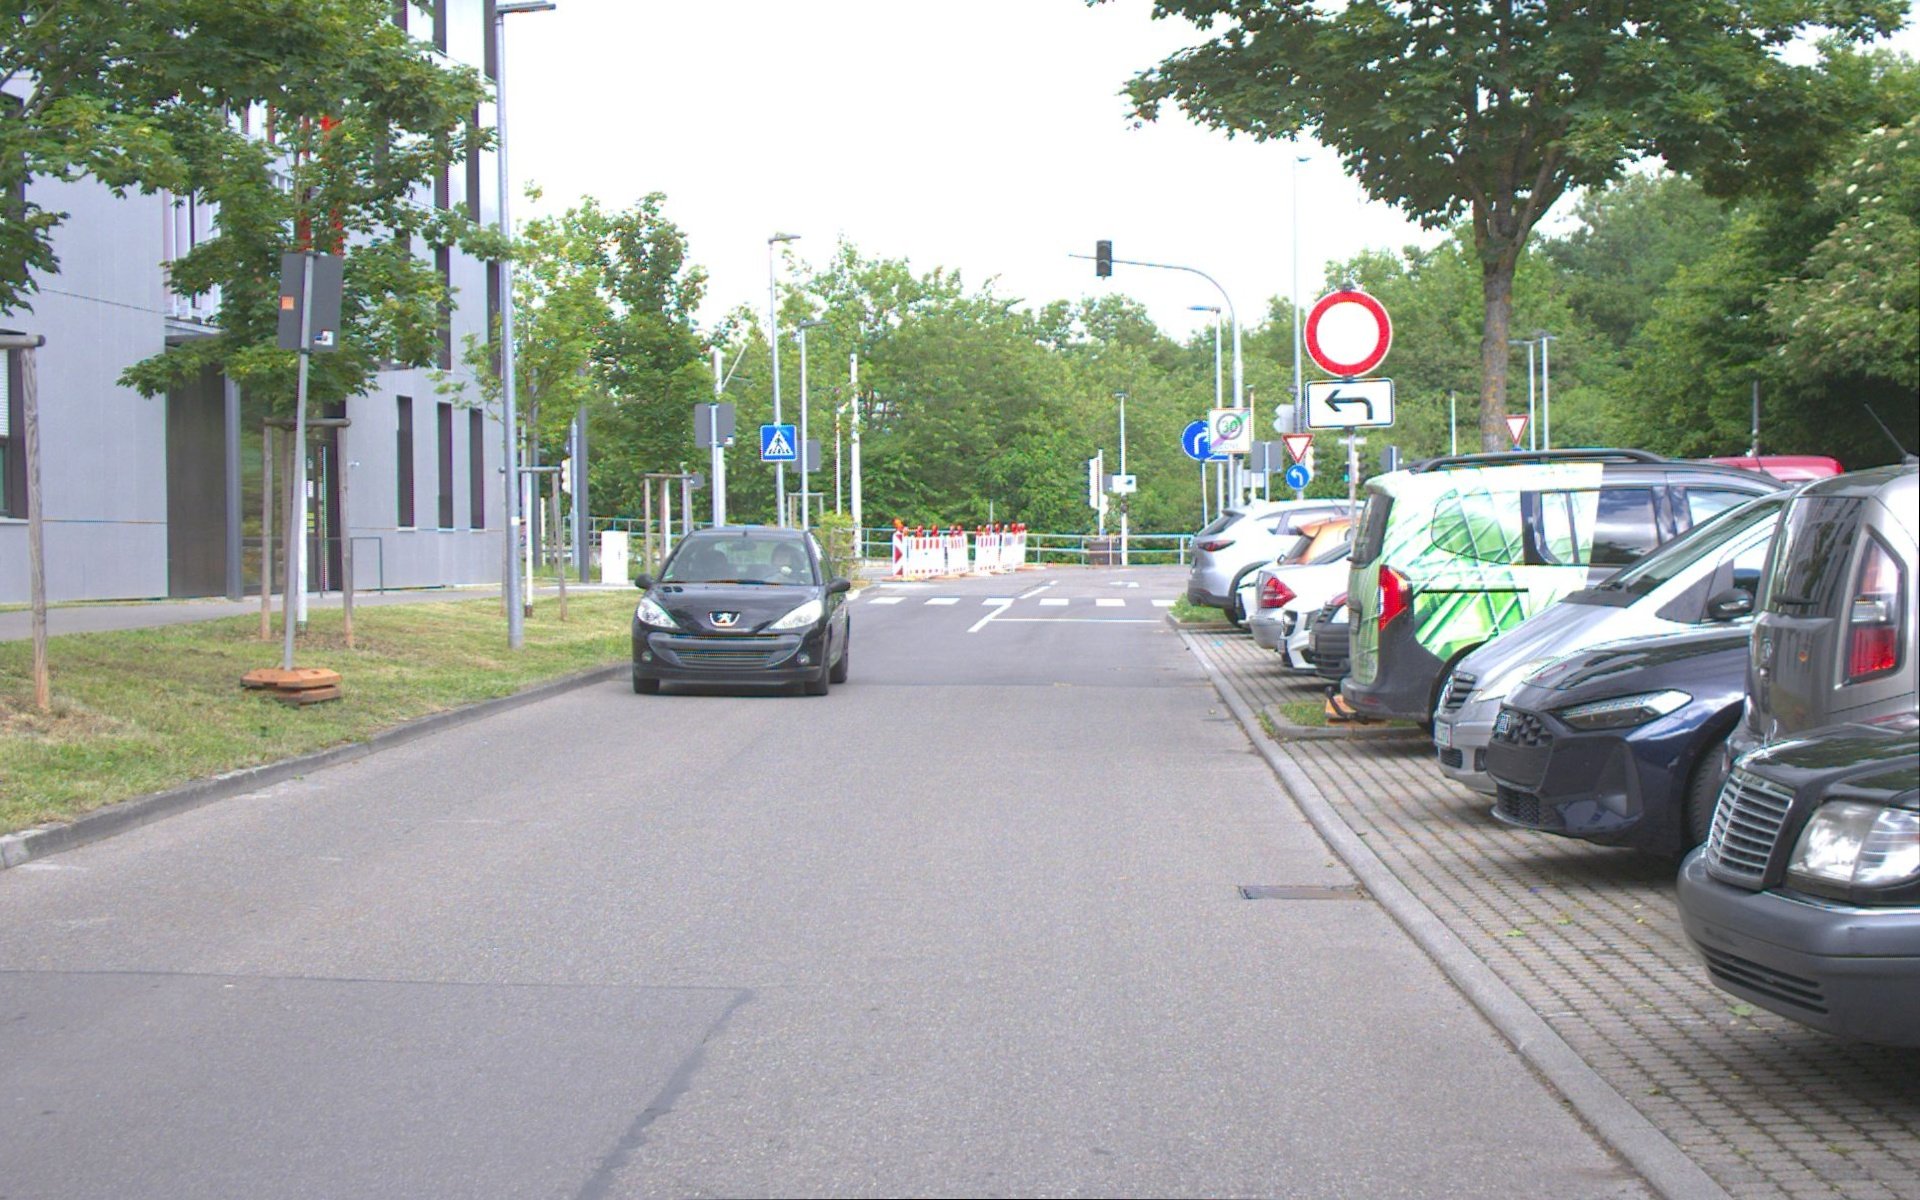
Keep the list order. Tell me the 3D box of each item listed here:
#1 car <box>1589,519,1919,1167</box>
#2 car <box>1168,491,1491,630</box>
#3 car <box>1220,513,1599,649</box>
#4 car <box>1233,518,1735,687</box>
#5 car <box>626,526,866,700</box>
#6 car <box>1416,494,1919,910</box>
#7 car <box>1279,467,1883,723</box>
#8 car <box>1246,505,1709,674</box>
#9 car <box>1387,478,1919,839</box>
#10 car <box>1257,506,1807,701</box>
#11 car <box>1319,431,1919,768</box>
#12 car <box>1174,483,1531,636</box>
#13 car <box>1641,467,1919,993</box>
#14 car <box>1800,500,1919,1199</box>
[{"bbox_3d":[4.154,0.466,8.752,4.723,1.429,2.057,-2,2,2],"label":"car"},{"bbox_3d":[5.200,-0.575,48.864,4.379,1.897,1.916,1,2,1],"label":"car"},{"bbox_3d":[5.443,-0.257,42.075,4.379,1.576,1.916,1,2,1],"label":"car"},{"bbox_3d":[4.813,0.000,32.040,4.379,1.470,1.916,1,2,1],"label":"car"},{"bbox_3d":[-1.807,0.061,30.138,1.609,1.383,4.000,1,2,3],"label":"car"},{"bbox_3d":[4.420,0.307,14.067,4.725,1.493,2.112,-2,2,-2],"label":"car"},{"bbox_3d":[4.794,-0.069,27.028,4.379,1.897,1.937,1,2,1],"label":"car"},{"bbox_3d":[5.169,-0.132,34.769,4.379,1.612,1.916,1,2,1],"label":"car"},{"bbox_3d":[4.395,0.208,16.653,4.379,1.571,1.916,-2,2,1],"label":"car"},{"bbox_3d":[4.820,0.012,29.430,4.379,1.568,1.916,1,1,1],"label":"car"},{"bbox_3d":[4.551,-0.045,21.454,4.379,1.897,1.916,-2,2,1],"label":"car"},{"bbox_3d":[5.030,-0.538,44.507,4.379,1.897,1.916,1,2,1],"label":"car"},{"bbox_3d":[4.516,0.314,11.500,4.065,1.603,1.892,-2,2,1],"label":"car"},{"bbox_3d":[4.125,0.503,6.264,4.703,1.511,1.847,-2,2,1],"label":"car"}]
